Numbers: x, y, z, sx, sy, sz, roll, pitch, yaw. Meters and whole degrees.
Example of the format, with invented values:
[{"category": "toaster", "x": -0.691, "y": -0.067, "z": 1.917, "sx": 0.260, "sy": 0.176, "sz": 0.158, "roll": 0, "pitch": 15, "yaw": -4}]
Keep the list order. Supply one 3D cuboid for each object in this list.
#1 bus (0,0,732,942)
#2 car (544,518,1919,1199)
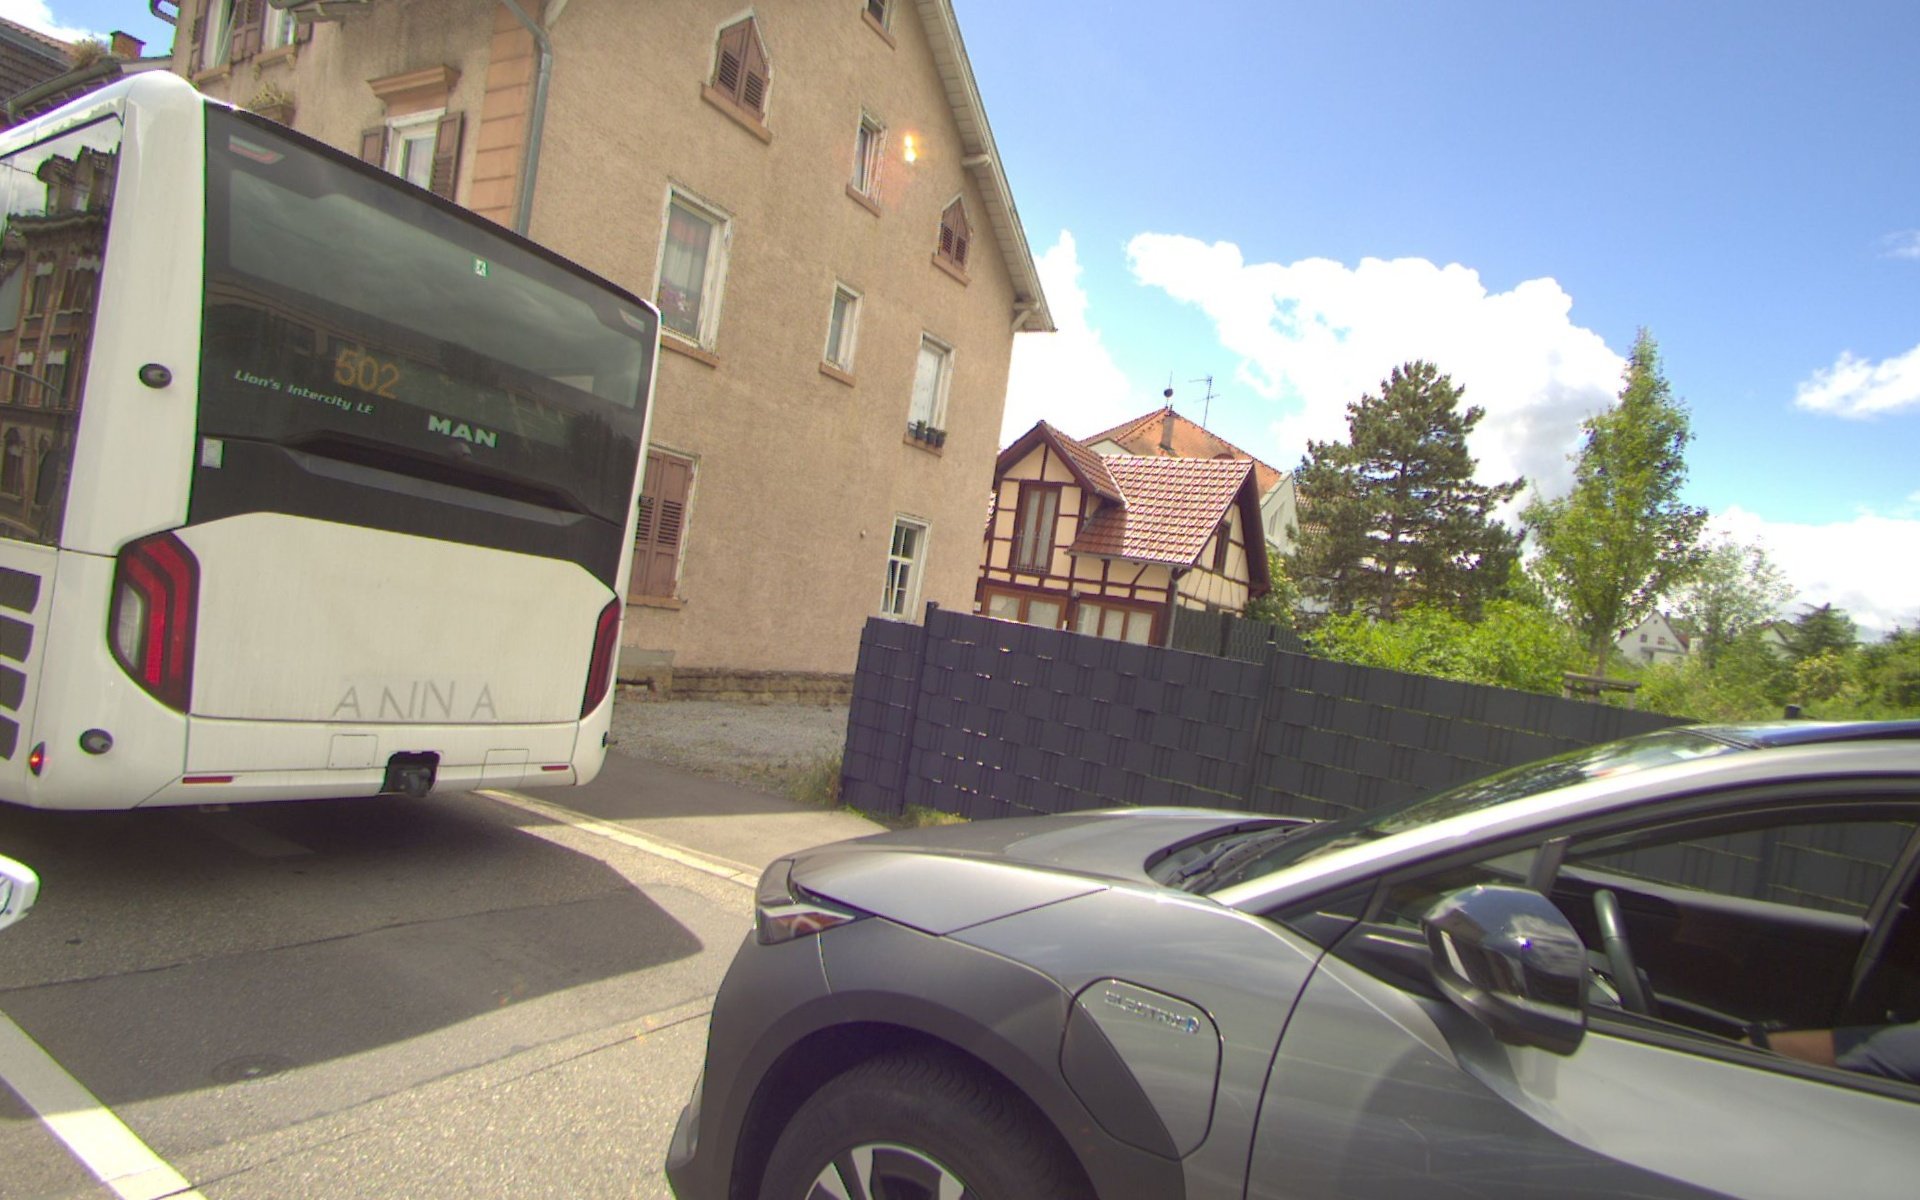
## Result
[{"category": "bus", "x": -7.460, "y": -1.042, "z": 7.797, "sx": 12.281, "sy": 3.551, "sz": 2.910, "roll": 6, "pitch": -2, "yaw": 32}, {"category": "car", "x": 1.599, "y": 0.953, "z": 1.847, "sx": 4.504, "sy": 1.648, "sz": 1.997, "roll": 7, "pitch": -1, "yaw": 31}]
